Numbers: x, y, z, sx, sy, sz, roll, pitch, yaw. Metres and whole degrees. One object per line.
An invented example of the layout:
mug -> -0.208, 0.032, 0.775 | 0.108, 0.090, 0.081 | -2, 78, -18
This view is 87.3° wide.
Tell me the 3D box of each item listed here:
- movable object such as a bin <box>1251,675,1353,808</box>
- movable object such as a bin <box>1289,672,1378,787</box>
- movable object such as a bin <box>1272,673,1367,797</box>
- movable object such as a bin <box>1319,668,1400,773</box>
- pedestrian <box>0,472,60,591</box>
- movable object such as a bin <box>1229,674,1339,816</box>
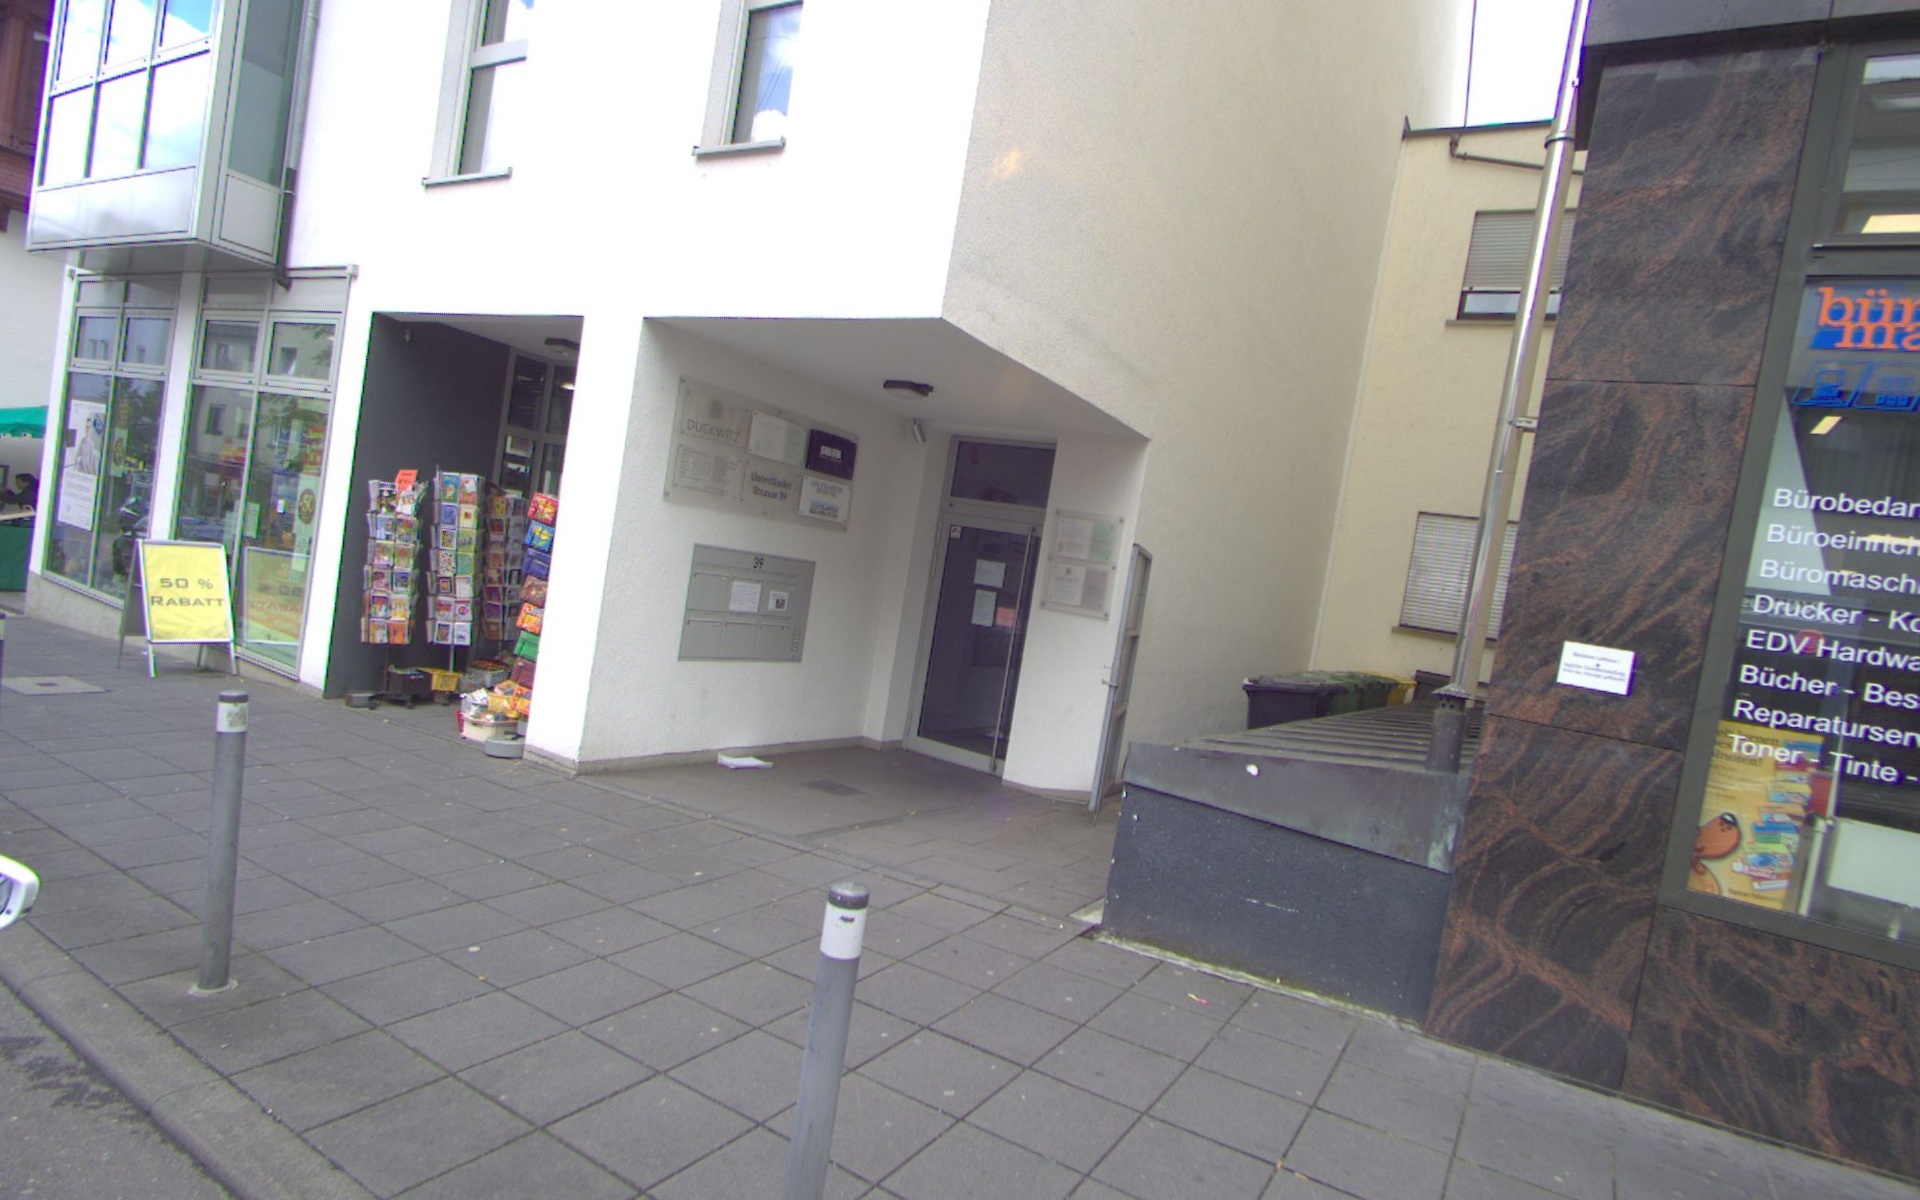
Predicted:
movable object such as a bin -> 3.152, 1.269, 9.250 | 0.643, 1.072, 0.746 | 7, 1, 30
movable object such as a bin -> 3.922, 1.331, 10.551 | 0.643, 1.072, 0.746 | 7, 1, 30
movable object such as a bin -> 3.543, 1.298, 9.897 | 0.643, 1.072, 0.746 | 7, 1, 30
movable object such as a bin -> 4.574, 1.356, 11.509 | 0.643, 1.072, 0.746 | 7, 1, 30
pedestrian -> -13.599, -0.995, 14.564 | 0.692, 1.633, 0.623 | 7, 1, 36
movable object such as a bin -> 2.776, 1.208, 8.604 | 0.643, 1.072, 0.722 | 7, 1, 30
